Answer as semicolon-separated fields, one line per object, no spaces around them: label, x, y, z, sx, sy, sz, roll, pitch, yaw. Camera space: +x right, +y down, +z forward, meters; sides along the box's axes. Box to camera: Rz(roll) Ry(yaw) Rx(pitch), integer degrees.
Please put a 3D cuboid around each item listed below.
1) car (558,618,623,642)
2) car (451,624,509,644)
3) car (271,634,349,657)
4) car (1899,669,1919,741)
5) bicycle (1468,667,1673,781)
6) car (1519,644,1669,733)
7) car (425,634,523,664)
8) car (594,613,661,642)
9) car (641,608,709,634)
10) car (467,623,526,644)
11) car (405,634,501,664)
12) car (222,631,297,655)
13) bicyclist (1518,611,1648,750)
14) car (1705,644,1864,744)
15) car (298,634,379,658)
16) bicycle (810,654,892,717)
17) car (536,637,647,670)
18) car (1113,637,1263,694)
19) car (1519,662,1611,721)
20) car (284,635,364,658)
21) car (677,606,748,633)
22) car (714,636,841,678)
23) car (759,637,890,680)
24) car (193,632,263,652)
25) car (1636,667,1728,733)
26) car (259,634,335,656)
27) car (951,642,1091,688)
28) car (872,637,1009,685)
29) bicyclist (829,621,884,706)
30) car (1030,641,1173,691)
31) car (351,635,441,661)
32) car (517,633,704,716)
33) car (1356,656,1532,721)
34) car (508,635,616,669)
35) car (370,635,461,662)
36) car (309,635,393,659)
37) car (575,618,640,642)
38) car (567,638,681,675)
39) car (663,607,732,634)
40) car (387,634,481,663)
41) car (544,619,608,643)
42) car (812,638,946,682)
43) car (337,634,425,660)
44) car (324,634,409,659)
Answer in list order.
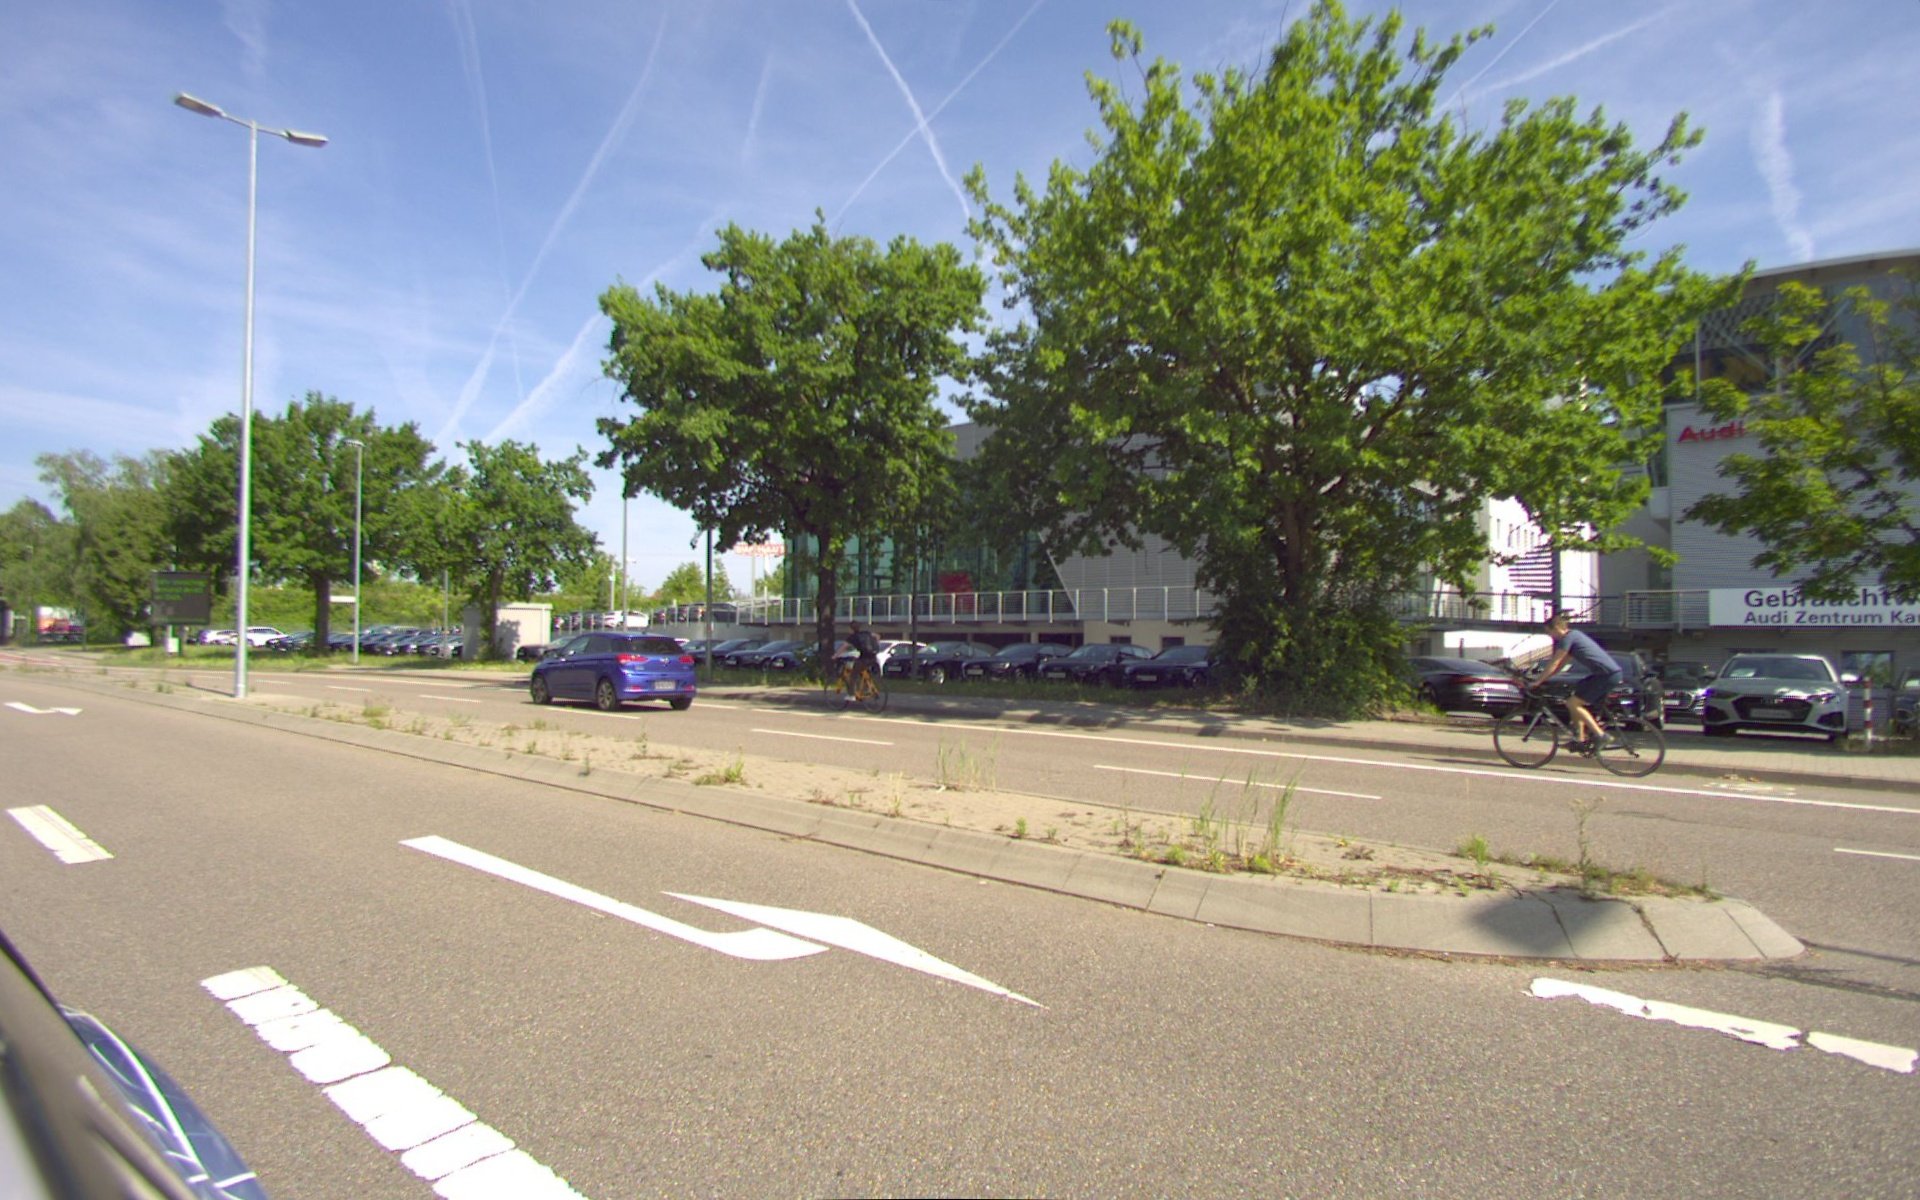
car;-27.280;2.257;74.863;1.689;1.511;4.142;-2;-6;41
car;-41.109;2.909;86.730;1.689;1.511;4.142;-2;-6;41
car;-44.310;3.123;69.038;1.689;1.333;4.142;-2;-6;41
car;22.589;2.364;22.941;1.689;1.484;3.622;-2;-3;40
bicycle;6.952;1.371;11.606;1.925;1.159;0.565;-2;-3;44
car;11.584;1.609;18.395;1.807;1.413;3.984;-2;-6;39
car;-24.823;2.527;51.774;1.689;1.333;4.142;-2;-6;41
car;-23.503;1.978;71.611;1.689;1.745;4.142;-2;-6;41
car;-19.285;1.455;68.593;1.689;1.511;4.142;-2;-6;41
car;-39.032;2.850;85.250;1.689;1.511;4.142;-2;-6;41
car;-26.738;2.603;53.448;1.689;1.333;4.142;-2;-6;41
car;-51.063;3.138;73.792;1.689;1.511;4.142;-2;-6;41
bicyclist;7.070;0.893;11.505;1.143;1.494;0.564;-2;-3;44
car;13.529;1.531;16.628;1.801;1.405;4.172;-2;-6;40
car;-40.396;3.011;65.857;1.689;1.333;4.142;-2;-6;41
bicycle;-2.137;1.639;19.676;1.770;1.159;0.565;-2;-4;44
car;-15.834;2.318;43.668;1.689;1.256;4.142;-2;-6;41
car;5.647;1.624;24.713;1.796;1.236;4.142;-2;-6;41
car;16.855;2.473;28.113;1.688;1.448;3.780;-2;-3;38
car;-42.367;3.097;67.465;1.689;1.333;4.142;-2;-6;41
car;-15.724;1.264;64.515;1.689;1.416;4.142;-2;-6;41
car;-6.223;1.971;34.879;1.689;1.264;4.142;-2;-6;41
car;-4.379;1.937;33.152;1.689;1.215;4.142;-2;-6;41
car;-56.985;3.289;78.836;1.689;1.389;4.142;-2;-6;41
car;18.792;2.531;26.286;1.688;1.484;3.779;-2;-3;39
car;-46.399;3.147;70.887;1.689;1.333;4.142;-2;-6;41
car;1.775;1.842;28.340;1.719;1.131;4.142;-2;-6;41
car;-0.502;1.848;30.073;1.689;1.256;4.142;-2;-6;41
bicyclist;-1.998;1.221;19.563;0.910;1.609;0.570;-2;-5;44
car;3.766;1.743;26.430;1.694;1.143;4.142;-2;-6;41
car;-32.541;2.780;58.481;1.689;1.333;4.142;-2;-6;41
car;-6.808;1.402;19.544;3.868;1.449;1.709;-2;-5;42
car;11.009;1.965;23.330;1.662;1.343;3.848;1;-3;-11
car;-17.730;2.334;45.247;1.689;1.333;4.142;-2;-6;41
car;-30.551;2.738;56.844;1.689;1.333;4.142;-2;-6;41
car;-38.462;2.967;63.987;1.689;1.333;4.142;-2;-6;41
car;-25.510;2.188;73.345;1.689;1.511;4.142;-2;-6;41
car;-13.878;2.368;41.953;1.689;1.335;4.142;-2;-6;41
car;-17.284;1.358;66.732;1.689;1.511;4.142;-2;-6;41
car;-28.451;2.646;54.849;1.689;1.333;4.142;-2;-6;41
car;-28.955;2.353;76.422;1.689;1.511;4.142;-2;-6;41
car;-2.452;1.891;31.632;1.689;1.204;4.142;-2;-6;41
car;-34.398;2.821;60.203;1.689;1.333;4.142;-2;-6;41
car;-36.538;2.889;62.338;1.689;1.333;4.142;-2;-6;41
